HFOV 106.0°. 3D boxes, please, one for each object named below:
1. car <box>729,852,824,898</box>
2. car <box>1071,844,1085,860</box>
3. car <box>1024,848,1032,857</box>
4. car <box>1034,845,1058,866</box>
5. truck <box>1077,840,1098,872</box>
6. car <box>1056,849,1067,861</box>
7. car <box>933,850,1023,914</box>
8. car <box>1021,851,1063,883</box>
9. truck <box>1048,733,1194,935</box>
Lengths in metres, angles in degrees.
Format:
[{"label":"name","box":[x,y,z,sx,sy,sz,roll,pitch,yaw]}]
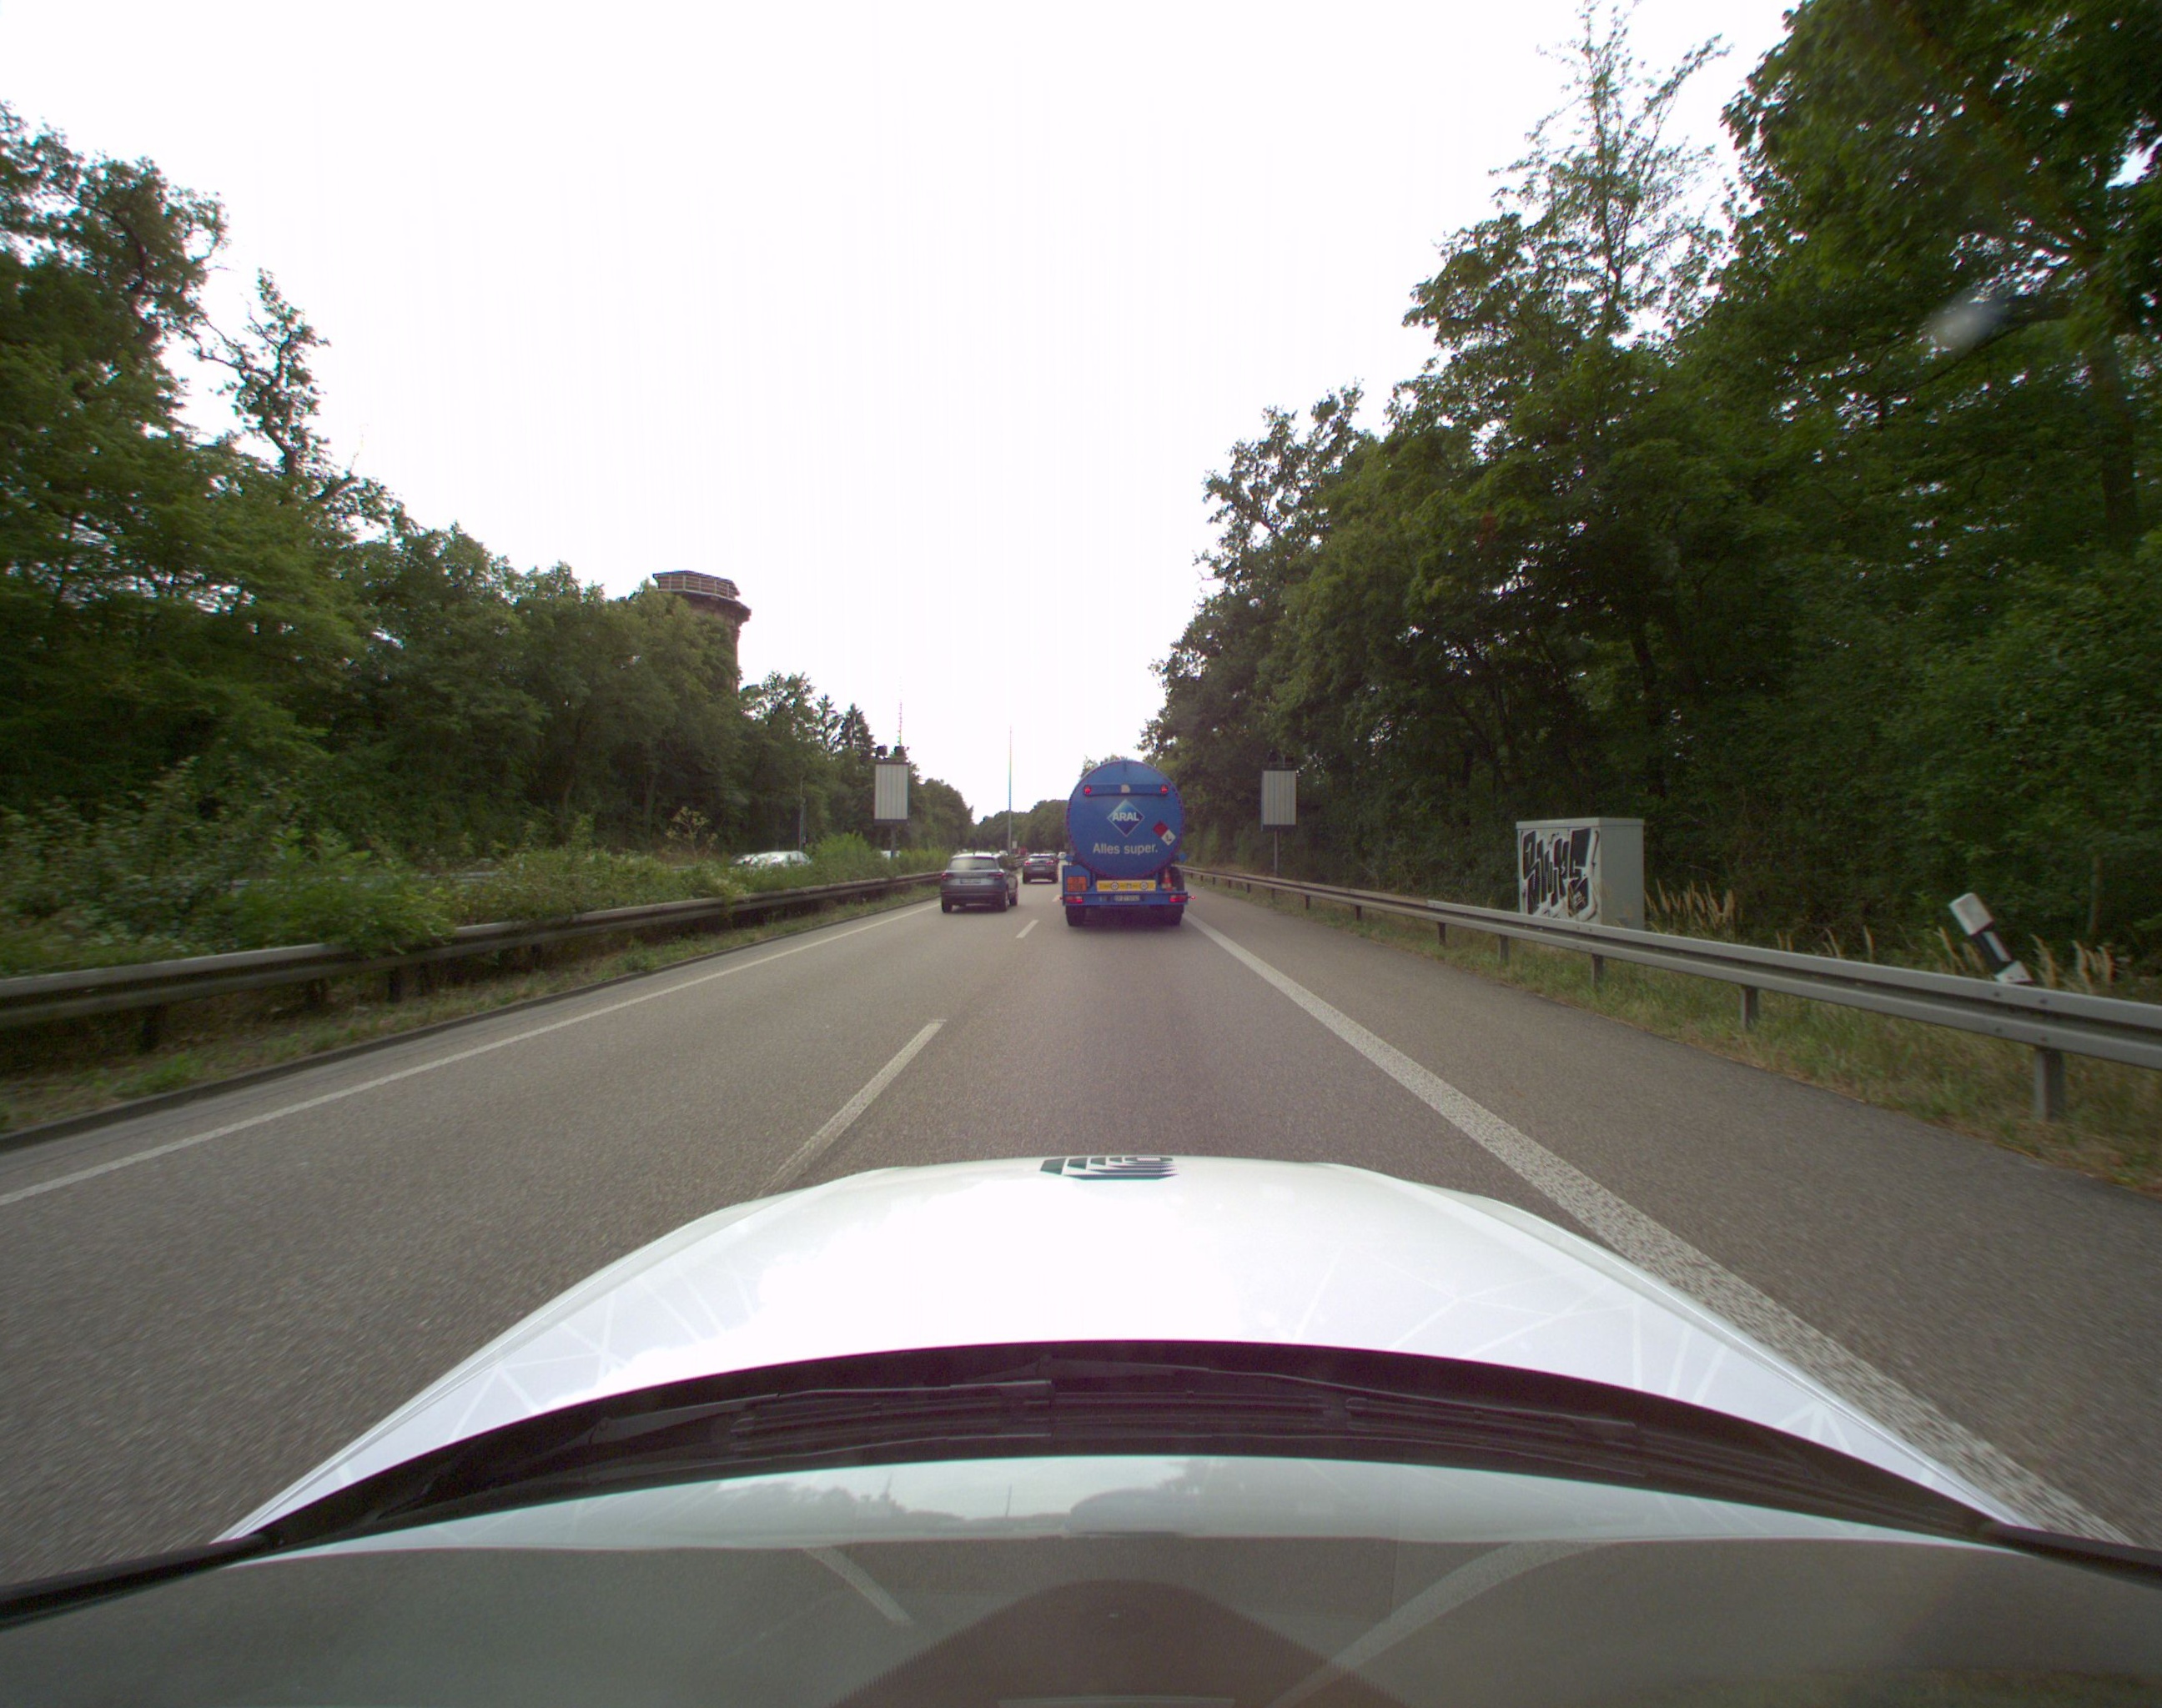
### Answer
[{"label":"car","box":[-11.485,0.762,31.026,1.986,1.610,4.002,-1,0,2]},{"label":"car","box":[-0.459,-0.334,117.629,1.987,2.244,3.999,-1,0,0]},{"label":"car","box":[-14.268,-0.335,220.177,1.990,2.244,3.993,-1,0,-4]},{"label":"car","box":[-3.461,0.122,81.637,1.985,2.014,4.002,-1,0,2]},{"label":"truck","box":[0.746,0.201,84.088,1.986,3.092,7.817,-1,0,2]},{"label":"car","box":[-3.777,0.267,158.657,1.985,2.244,4.002,-1,0,2]},{"label":"car","box":[-2.825,0.736,23.136,1.819,1.609,4.170,-1,0,2]},{"label":"car","box":[-2.056,0.696,43.703,1.819,1.609,4.170,-1,0,2]},{"label":"truck","box":[0.939,-0.362,19.580,2.744,3.847,7.693,-1,0,2]}]
